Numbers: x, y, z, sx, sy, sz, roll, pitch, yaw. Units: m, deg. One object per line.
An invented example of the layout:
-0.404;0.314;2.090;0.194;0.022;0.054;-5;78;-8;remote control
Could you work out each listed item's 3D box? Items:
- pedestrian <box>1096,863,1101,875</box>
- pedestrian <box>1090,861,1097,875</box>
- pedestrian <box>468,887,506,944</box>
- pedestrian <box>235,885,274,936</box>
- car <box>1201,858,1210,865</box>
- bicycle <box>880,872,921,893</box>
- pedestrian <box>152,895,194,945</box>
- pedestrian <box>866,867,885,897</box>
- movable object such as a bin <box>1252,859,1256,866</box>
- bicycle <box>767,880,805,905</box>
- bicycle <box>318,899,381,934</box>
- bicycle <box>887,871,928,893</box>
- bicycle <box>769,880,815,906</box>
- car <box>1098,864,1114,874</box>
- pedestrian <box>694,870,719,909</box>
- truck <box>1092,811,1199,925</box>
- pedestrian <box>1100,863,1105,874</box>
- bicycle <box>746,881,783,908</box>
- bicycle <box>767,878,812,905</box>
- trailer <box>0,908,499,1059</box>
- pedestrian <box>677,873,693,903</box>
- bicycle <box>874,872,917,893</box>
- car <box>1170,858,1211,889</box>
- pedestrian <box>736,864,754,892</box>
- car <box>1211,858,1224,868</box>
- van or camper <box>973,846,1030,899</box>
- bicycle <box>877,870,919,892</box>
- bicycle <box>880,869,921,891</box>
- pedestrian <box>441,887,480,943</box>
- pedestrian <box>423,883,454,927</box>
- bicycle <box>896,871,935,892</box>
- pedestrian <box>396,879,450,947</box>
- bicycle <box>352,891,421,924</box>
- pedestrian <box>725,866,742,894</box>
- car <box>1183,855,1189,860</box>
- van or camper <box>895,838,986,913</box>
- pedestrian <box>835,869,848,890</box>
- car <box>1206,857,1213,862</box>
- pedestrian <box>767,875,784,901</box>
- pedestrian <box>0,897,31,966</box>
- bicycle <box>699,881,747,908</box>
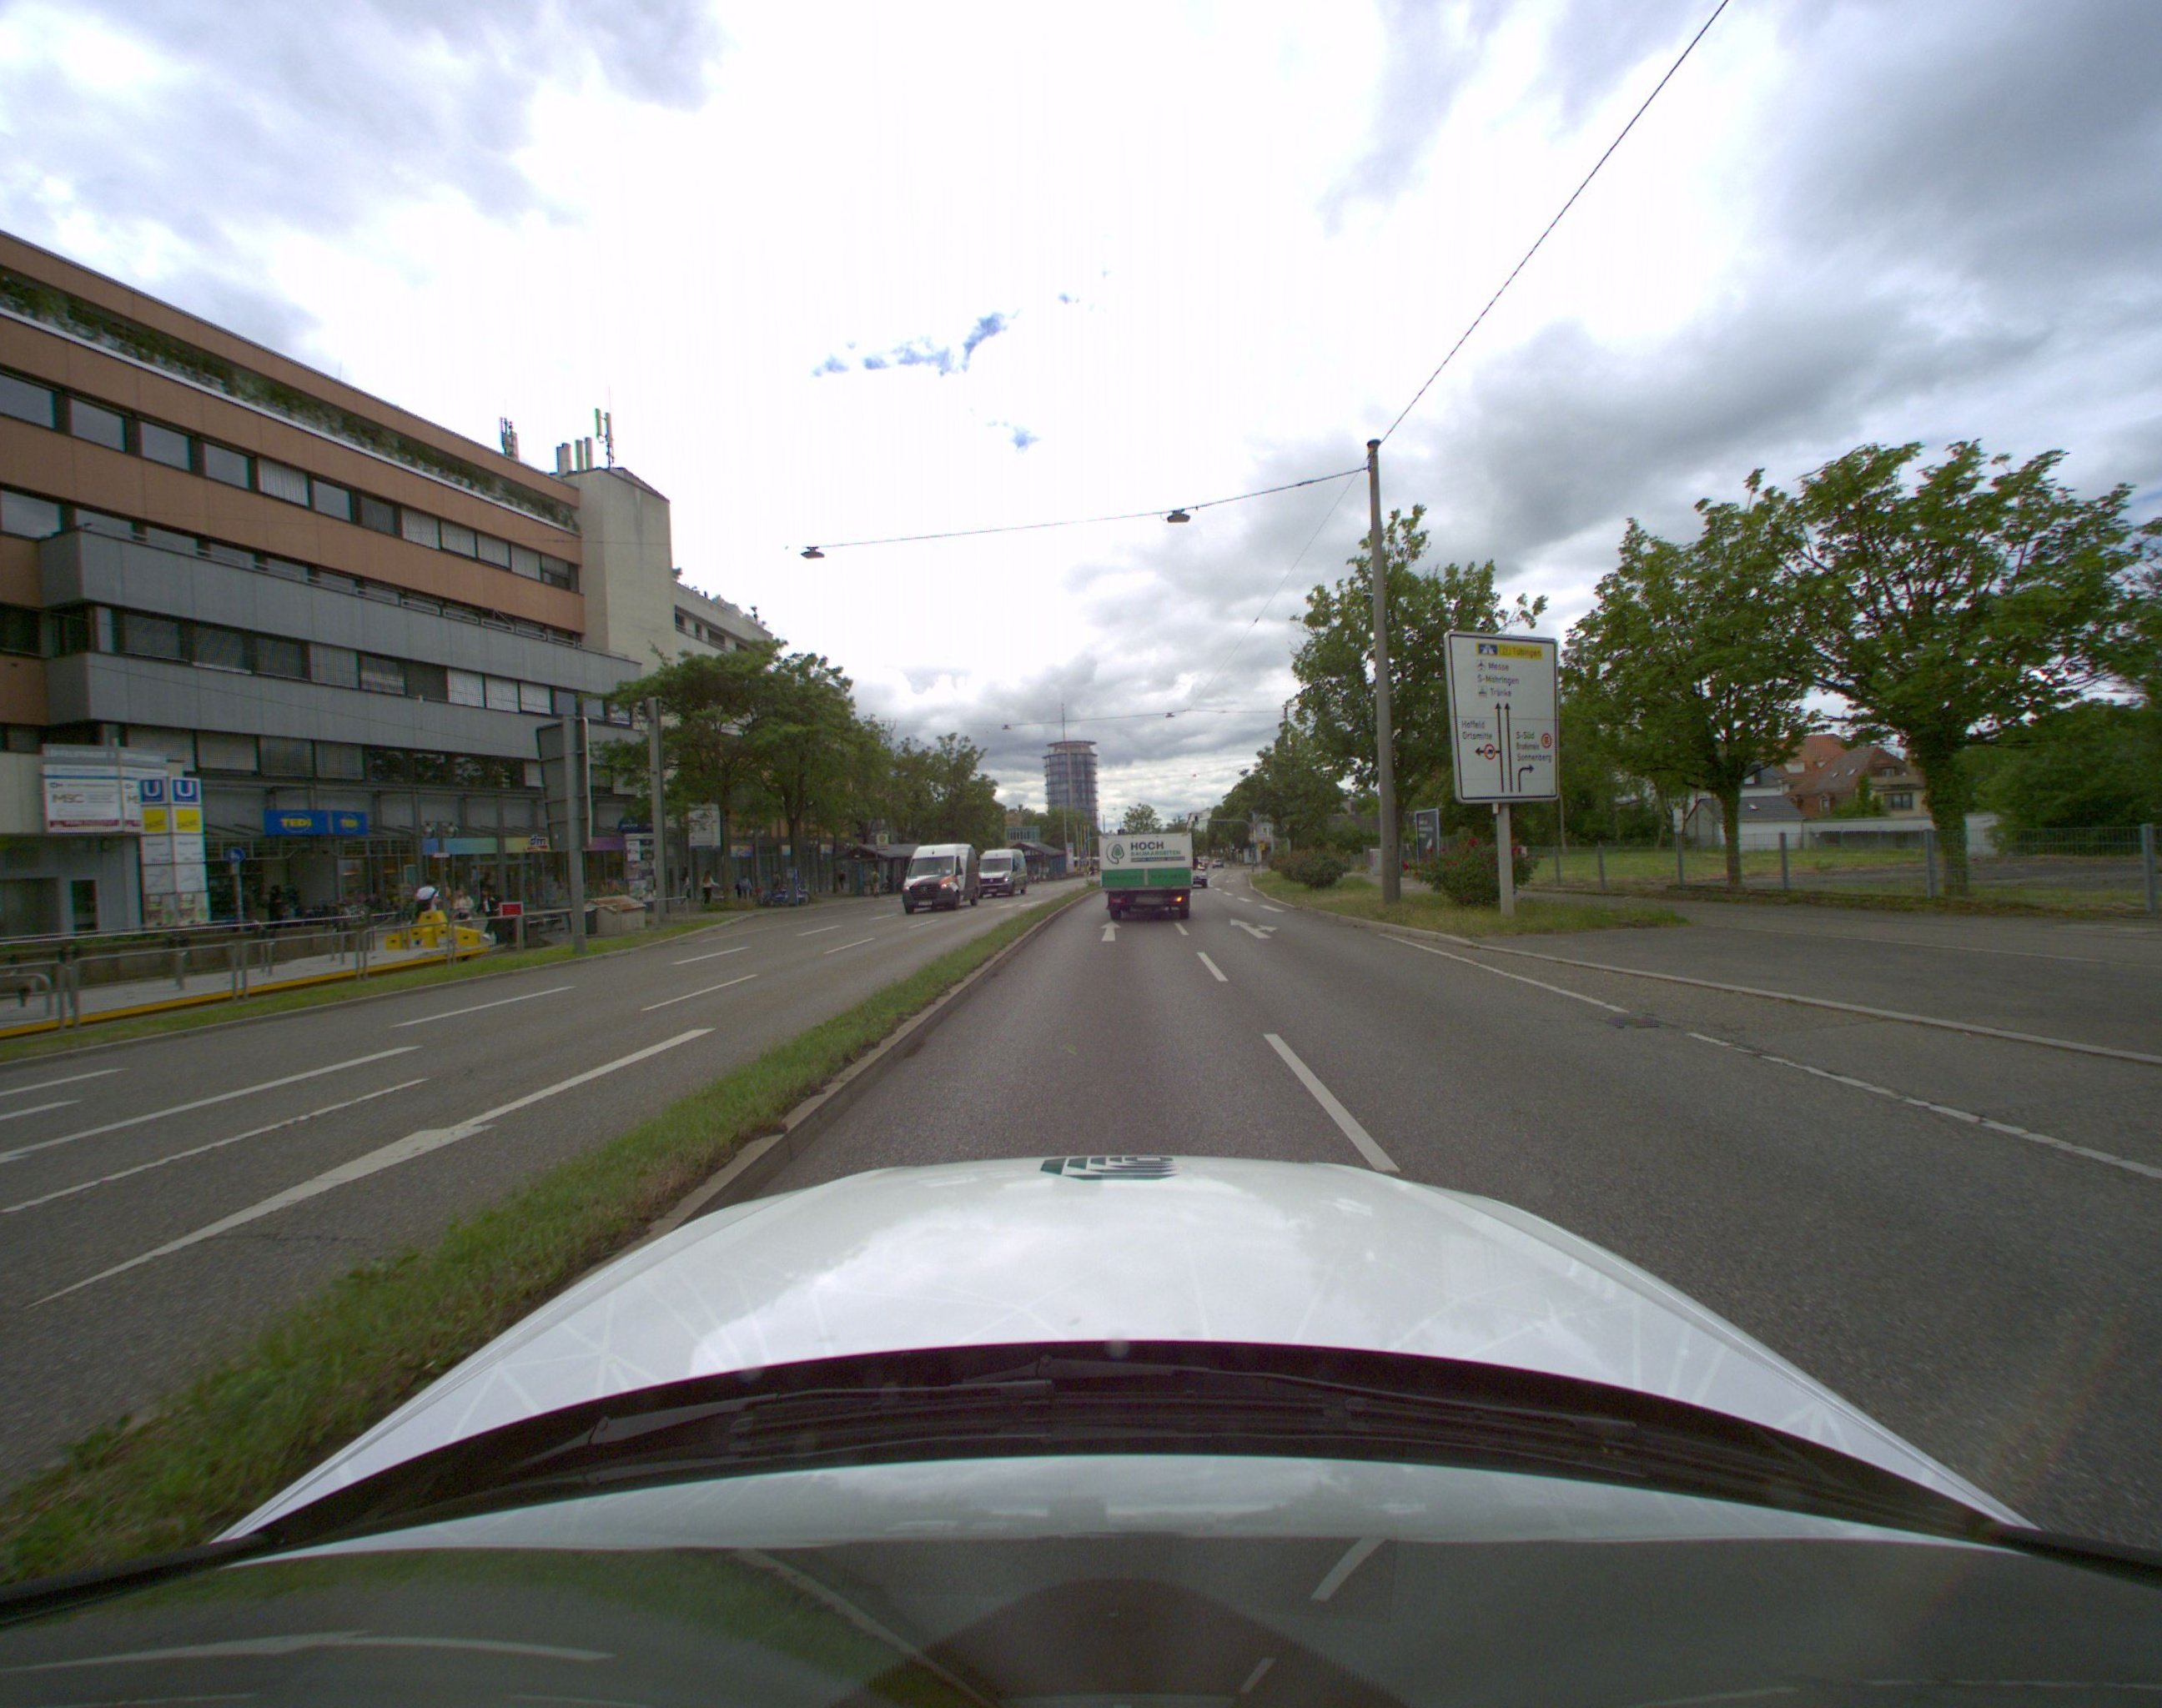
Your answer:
2.659;2.250;122.726;0.742;1.716;0.583;-3;-1;4;pedestrian
1.899;2.106;123.313;0.826;2.014;0.546;-3;-1;4;pedestrian
-17.395;1.794;23.860;0.597;1.573;0.620;-3;-1;0;pedestrian
-28.815;1.961;28.388;0.701;1.698;0.635;-1;-1;2;pedestrian
29.162;1.762;191.298;1.982;1.552;4.009;-3;-1;8;car
-13.825;2.174;62.355;2.887;1.506;0.806;-3;-1;2;bicycle
-32.615;2.361;29.247;0.701;1.716;0.707;-1;-1;2;pedestrian
-12.477;1.700;49.413;0.700;1.823;1.216;-1;-2;7;pedestrian
25.936;1.320;122.122;0.600;1.059;0.591;-1;-1;13;movable object such as a bin
-14.792;1.923;40.882;0.597;1.161;1.700;-3;-1;41;bicycle
-27.598;2.355;30.732;1.999;1.161;0.676;-3;0;11;bicycle
-13.423;2.169;62.933;2.887;1.506;0.806;-3;-1;2;bicycle
-13.787;1.857;38.886;0.597;1.161;1.977;-1;0;43;bicycle
4.149;2.458;133.945;1.981;1.486;4.011;-3;-1;10;car
-16.850;1.605;36.671;0.771;1.713;0.708;-1;-1;5;pedestrian
1.962;0.310;22.470;2.457;2.611;6.562;-2;0;8;truck
3.233;2.194;122.095;0.650;1.716;0.453;-3;-1;4;pedestrian
-15.330;1.953;39.510;0.598;1.161;1.973;-3;0;14;bicycle
-14.187;1.828;39.666;0.597;1.161;1.977;-3;-1;42;bicycle
-14.723;1.937;12.610;2.833;1.333;12.120;-3;0;-1;trailer
-21.798;1.881;44.844;0.626;1.600;0.626;-1;-1;41;pedestrian
-13.490;2.081;59.377;2.887;1.507;0.973;-1;-1;2;bicycle
6.177;1.056;46.299;1.860;1.505;4.776;-2;0;2;car
-19.247;1.344;46.647;0.663;1.584;0.708;-1;-1;5;pedestrian
22.342;1.448;133.432;1.982;1.552;4.010;-3;-1;9;car
-4.313;0.981;45.331;2.023;2.598;6.122;-4;-1;4;van or camper
-13.566;1.994;60.411;2.887;1.506;0.892;-3;-1;2;bicycle
-13.609;1.959;61.426;2.886;1.506;0.812;-3;-1;4;bicycle
-18.075;1.774;23.739;0.597;1.573;0.620;-3;-1;0;pedestrian
-25.946;2.048;32.891;0.647;1.700;0.669;-3;-1;2;pedestrian
-13.280;2.180;65.408;2.887;1.506;0.599;-3;-1;2;bicycle
-18.954;1.679;23.477;0.741;1.877;0.874;-3;-1;2;pedestrian
-27.387;2.091;32.171;0.667;1.161;2.026;-3;0;14;bicycle
-19.975;1.508;46.790;0.629;1.600;0.624;-1;-1;7;pedestrian
32.985;1.159;255.455;1.983;1.519;4.008;-3;-1;7;car
-5.470;0.796;32.596;1.985;2.598;6.122;-4;-1;4;van or camper
-20.199;2.122;68.627;0.766;1.716;0.823;-1;-1;6;pedestrian
39.171;1.664;249.224;1.982;1.552;4.009;-3;-1;8;car
-20.269;2.251;53.998;0.767;1.716;0.790;-1;-1;2;pedestrian
-27.590;1.992;20.775;0.682;1.700;0.669;-3;-1;2;pedestrian
-17.851;2.012;40.649;2.029;1.161;0.666;-3;-1;-41;bicycle
